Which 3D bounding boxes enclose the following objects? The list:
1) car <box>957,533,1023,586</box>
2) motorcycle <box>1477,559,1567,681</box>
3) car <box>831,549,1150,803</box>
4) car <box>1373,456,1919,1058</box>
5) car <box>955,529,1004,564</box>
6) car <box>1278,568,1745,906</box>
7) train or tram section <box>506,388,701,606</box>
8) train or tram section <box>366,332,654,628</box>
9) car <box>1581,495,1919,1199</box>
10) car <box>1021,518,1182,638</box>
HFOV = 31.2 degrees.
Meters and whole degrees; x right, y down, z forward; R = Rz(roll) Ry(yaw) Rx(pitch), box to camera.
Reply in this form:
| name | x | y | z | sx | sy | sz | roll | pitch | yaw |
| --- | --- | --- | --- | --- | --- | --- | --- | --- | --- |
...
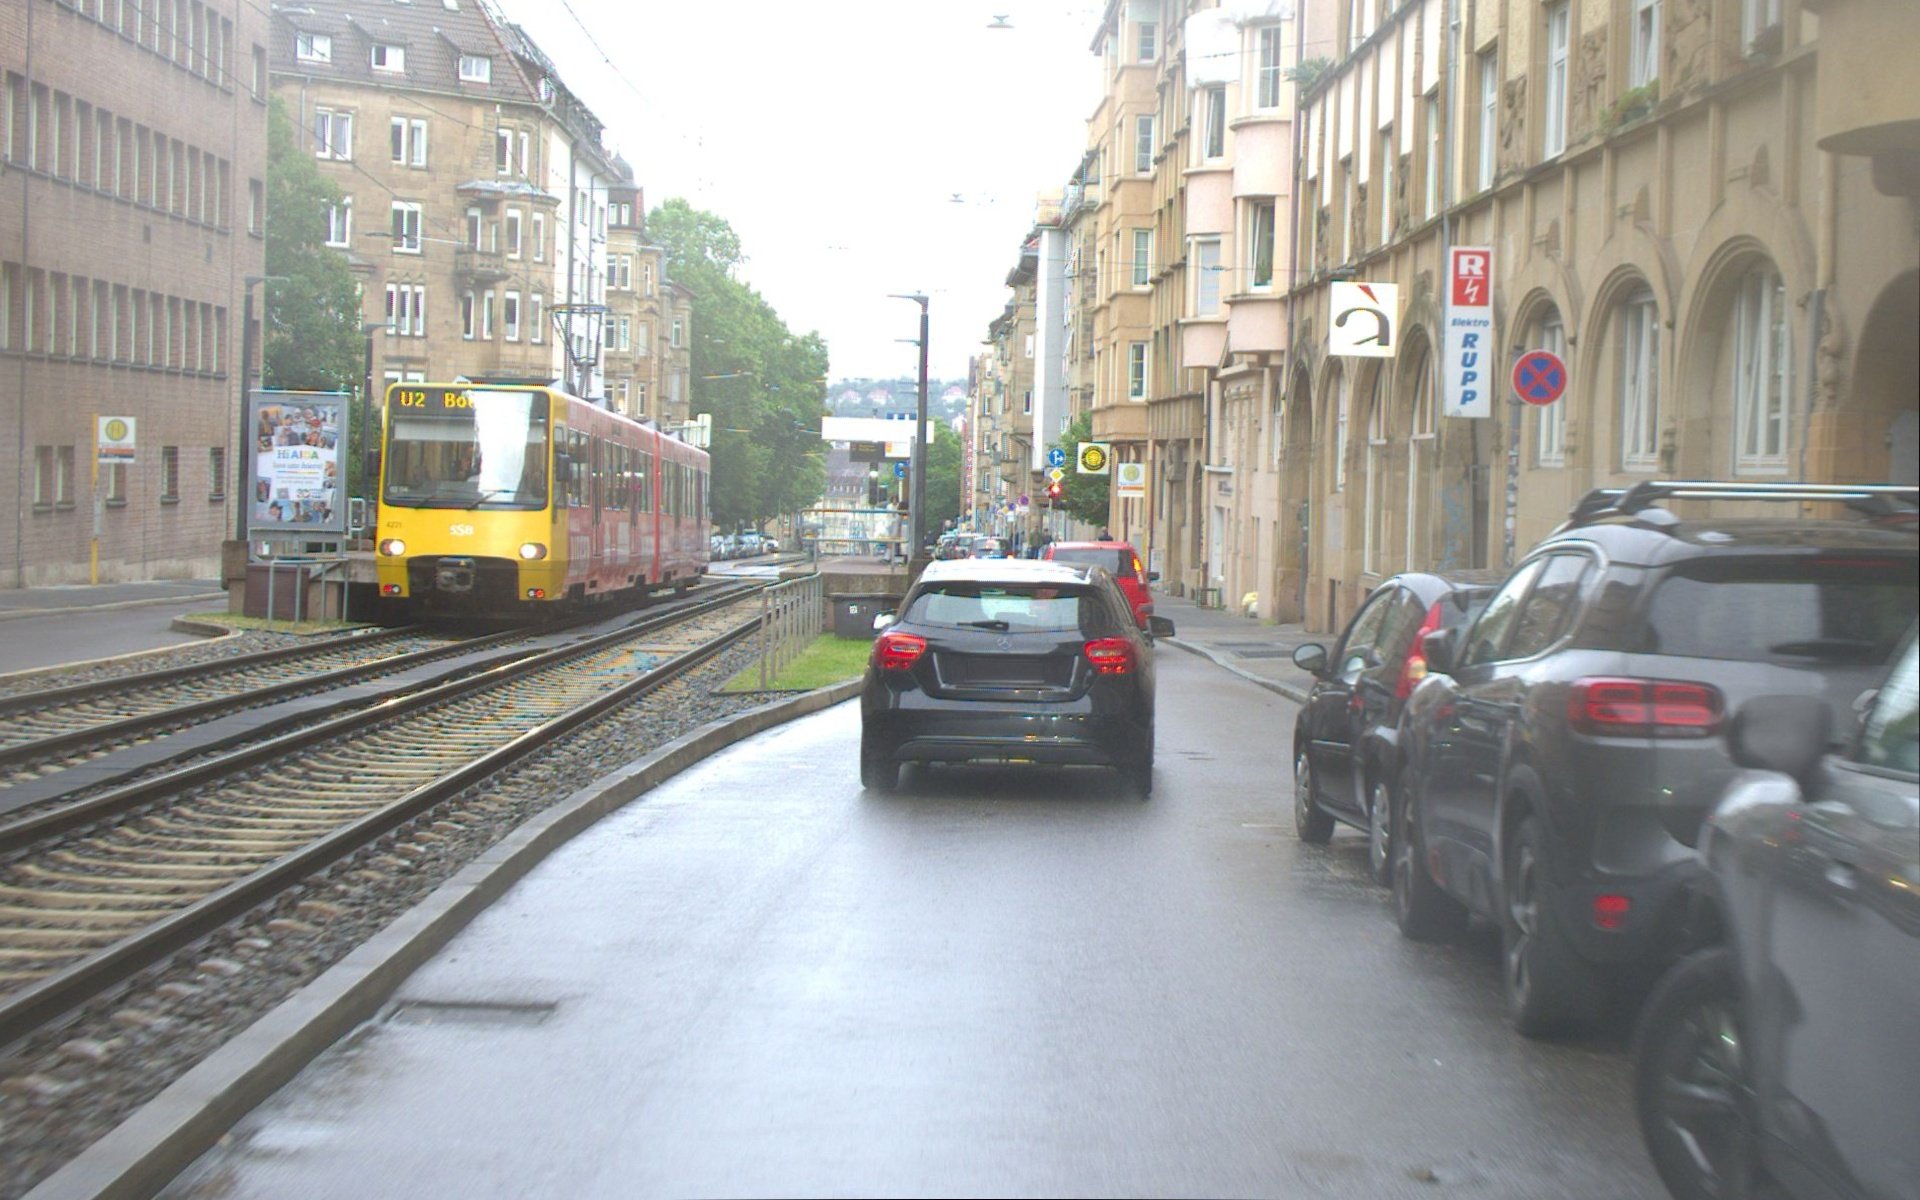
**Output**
| name | x | y | z | sx | sy | sz | roll | pitch | yaw |
| --- | --- | --- | --- | --- | --- | --- | --- | --- | --- |
| car | 0.935 | -1.238 | 105.101 | 1.887 | 1.520 | 4.245 | 2 | 1 | 1 |
| motorcycle | 5.732 | 0.185 | 35.170 | 0.556 | 1.156 | 2.269 | -3 | 1 | 2 |
| car | 0.169 | 0.415 | 21.971 | 1.834 | 1.448 | 3.902 | 1 | 1 | 0 |
| car | 2.638 | 0.449 | 12.313 | 1.778 | 1.744 | 4.548 | 1 | 0 | 0 |
| car | 0.864 | -2.428 | 156.064 | 2.134 | 1.520 | 4.246 | 2 | 1 | 0 |
| car | 2.605 | 0.599 | 16.933 | 1.591 | 1.435 | 3.310 | 3 | 0 | -2 |
| train or tram section | -7.277 | -2.100 | 72.364 | 2.745 | 4.048 | 15.662 | 1 | 1 | -1 |
| train or tram section | -6.995 | -1.841 | 56.166 | 2.745 | 4.048 | 17.216 | 1 | 1 | -1 |
| car | 2.422 | 0.645 | 6.256 | 1.841 | 1.602 | 4.760 | 1 | 0 | 2 |
| car | 1.912 | -0.318 | 47.642 | 1.993 | 1.520 | 4.246 | 2 | 1 | 0 |
